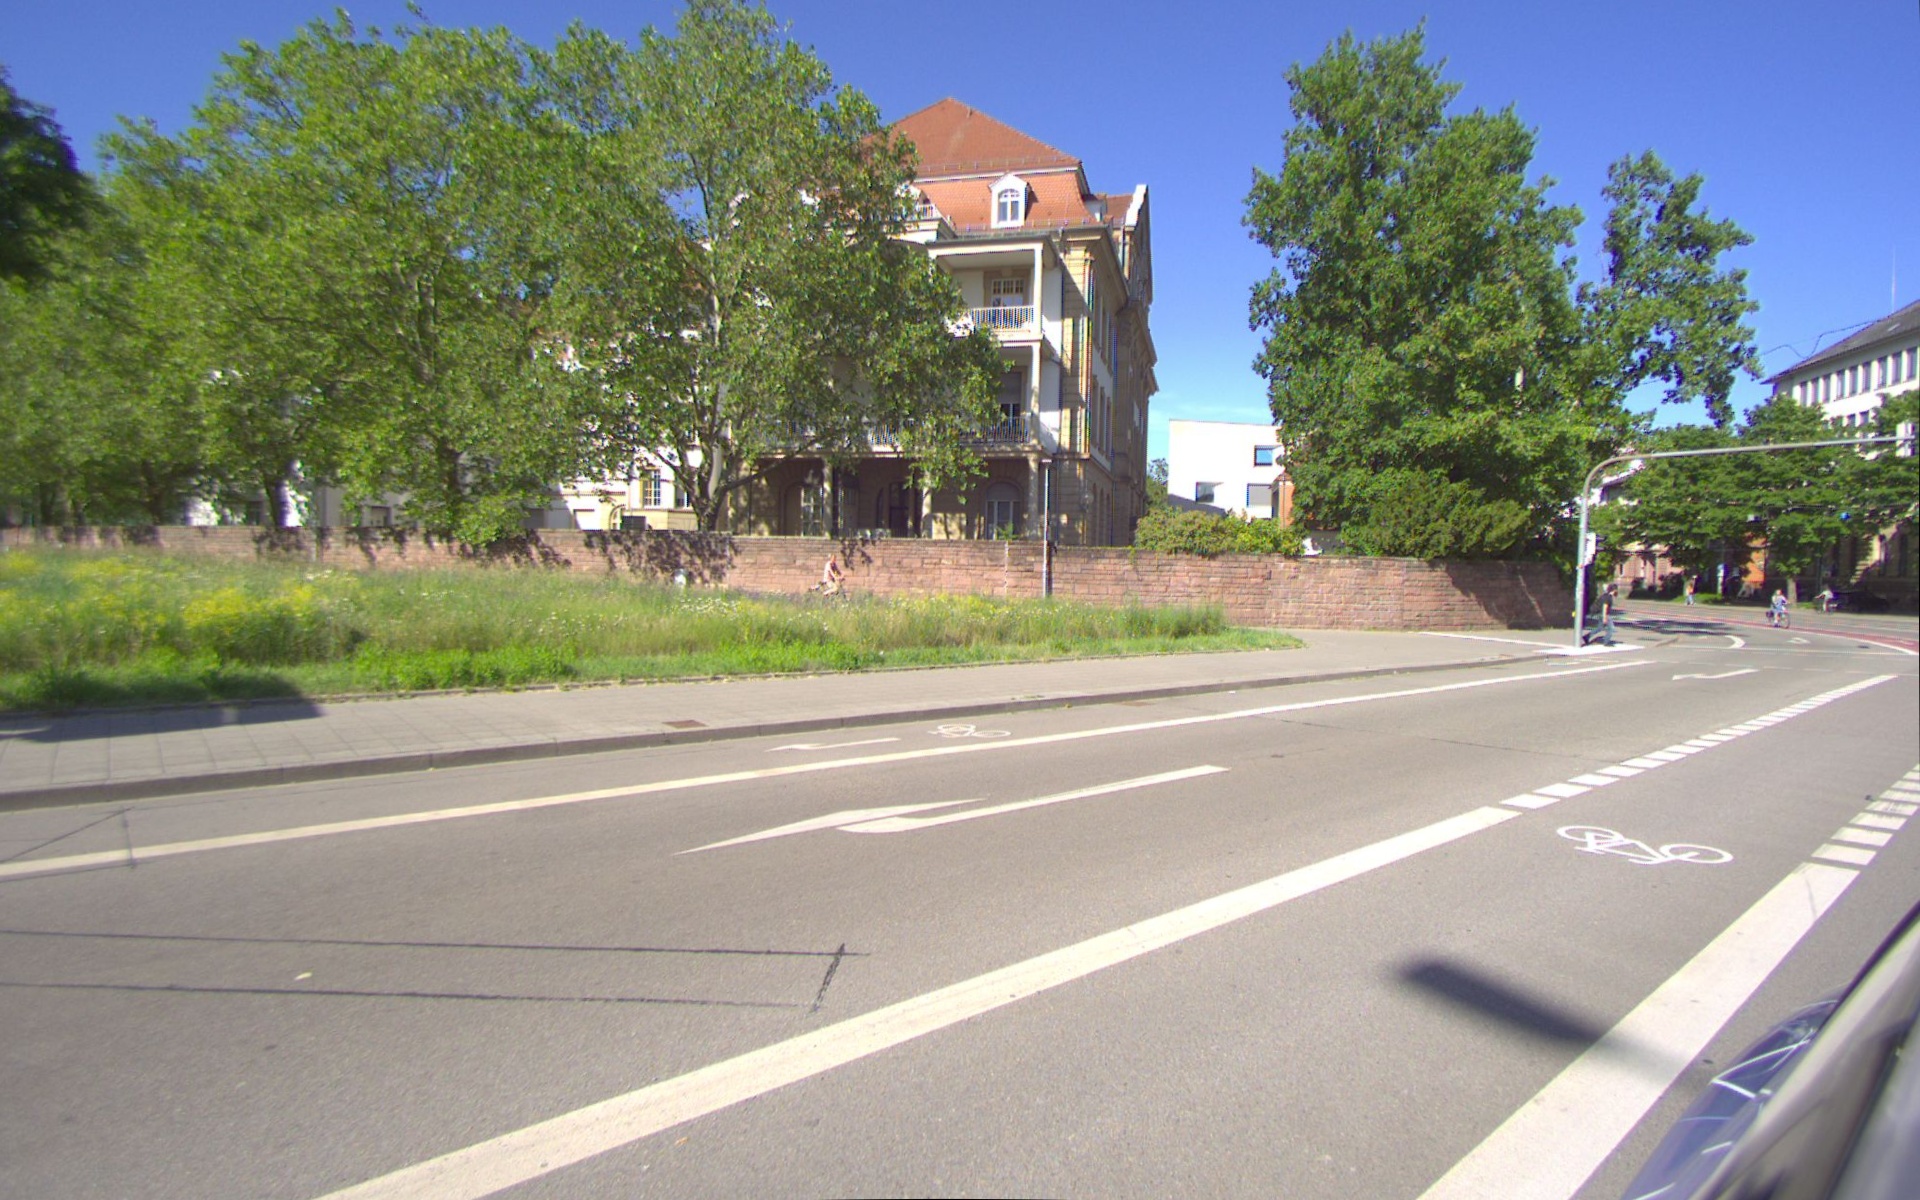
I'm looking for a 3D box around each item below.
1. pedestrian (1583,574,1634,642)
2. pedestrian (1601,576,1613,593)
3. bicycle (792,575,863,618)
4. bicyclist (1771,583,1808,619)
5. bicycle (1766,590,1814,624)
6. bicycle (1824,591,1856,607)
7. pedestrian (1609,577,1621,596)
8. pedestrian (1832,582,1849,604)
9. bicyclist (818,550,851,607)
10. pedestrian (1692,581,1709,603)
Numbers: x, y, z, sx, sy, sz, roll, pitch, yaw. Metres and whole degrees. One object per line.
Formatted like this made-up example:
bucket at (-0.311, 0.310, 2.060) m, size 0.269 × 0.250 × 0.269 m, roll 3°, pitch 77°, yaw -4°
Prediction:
pedestrian at (18.739, 0.222, 29.238) m, size 0.718 × 1.872 × 0.961 m, roll 0°, pitch 3°, yaw -39°
pedestrian at (69.784, -1.703, 109.106) m, size 0.745 × 1.835 × 0.978 m, roll 1°, pitch 1°, yaw 10°
bicycle at (-3.857, -0.098, 29.504) m, size 1.856 × 1.083 × 0.722 m, roll 5°, pitch 0°, yaw 12°
bicyclist at (37.012, 0.027, 45.171) m, size 0.859 × 1.579 × 1.272 m, roll 2°, pitch 2°, yaw 20°
bicycle at (36.999, 0.291, 45.152) m, size 0.753 × 1.385 × 2.720 m, roll 2°, pitch 2°, yaw 20°
bicycle at (56.292, -0.057, 64.758) m, size 0.591 × 1.019 × 1.982 m, roll 0°, pitch 1°, yaw 9°
pedestrian at (67.216, -1.399, 103.845) m, size 0.746 × 1.835 × 0.976 m, roll 2°, pitch 1°, yaw 14°
pedestrian at (56.263, -0.444, 64.676) m, size 0.586 × 1.420 × 0.644 m, roll 0°, pitch 0°, yaw 10°
bicyclist at (-3.671, -0.636, 29.699) m, size 0.766 × 1.626 × 0.720 m, roll 1°, pitch 1°, yaw 13°
pedestrian at (62.622, -0.699, 85.580) m, size 0.745 × 1.835 × 0.978 m, roll 1°, pitch 1°, yaw 9°
